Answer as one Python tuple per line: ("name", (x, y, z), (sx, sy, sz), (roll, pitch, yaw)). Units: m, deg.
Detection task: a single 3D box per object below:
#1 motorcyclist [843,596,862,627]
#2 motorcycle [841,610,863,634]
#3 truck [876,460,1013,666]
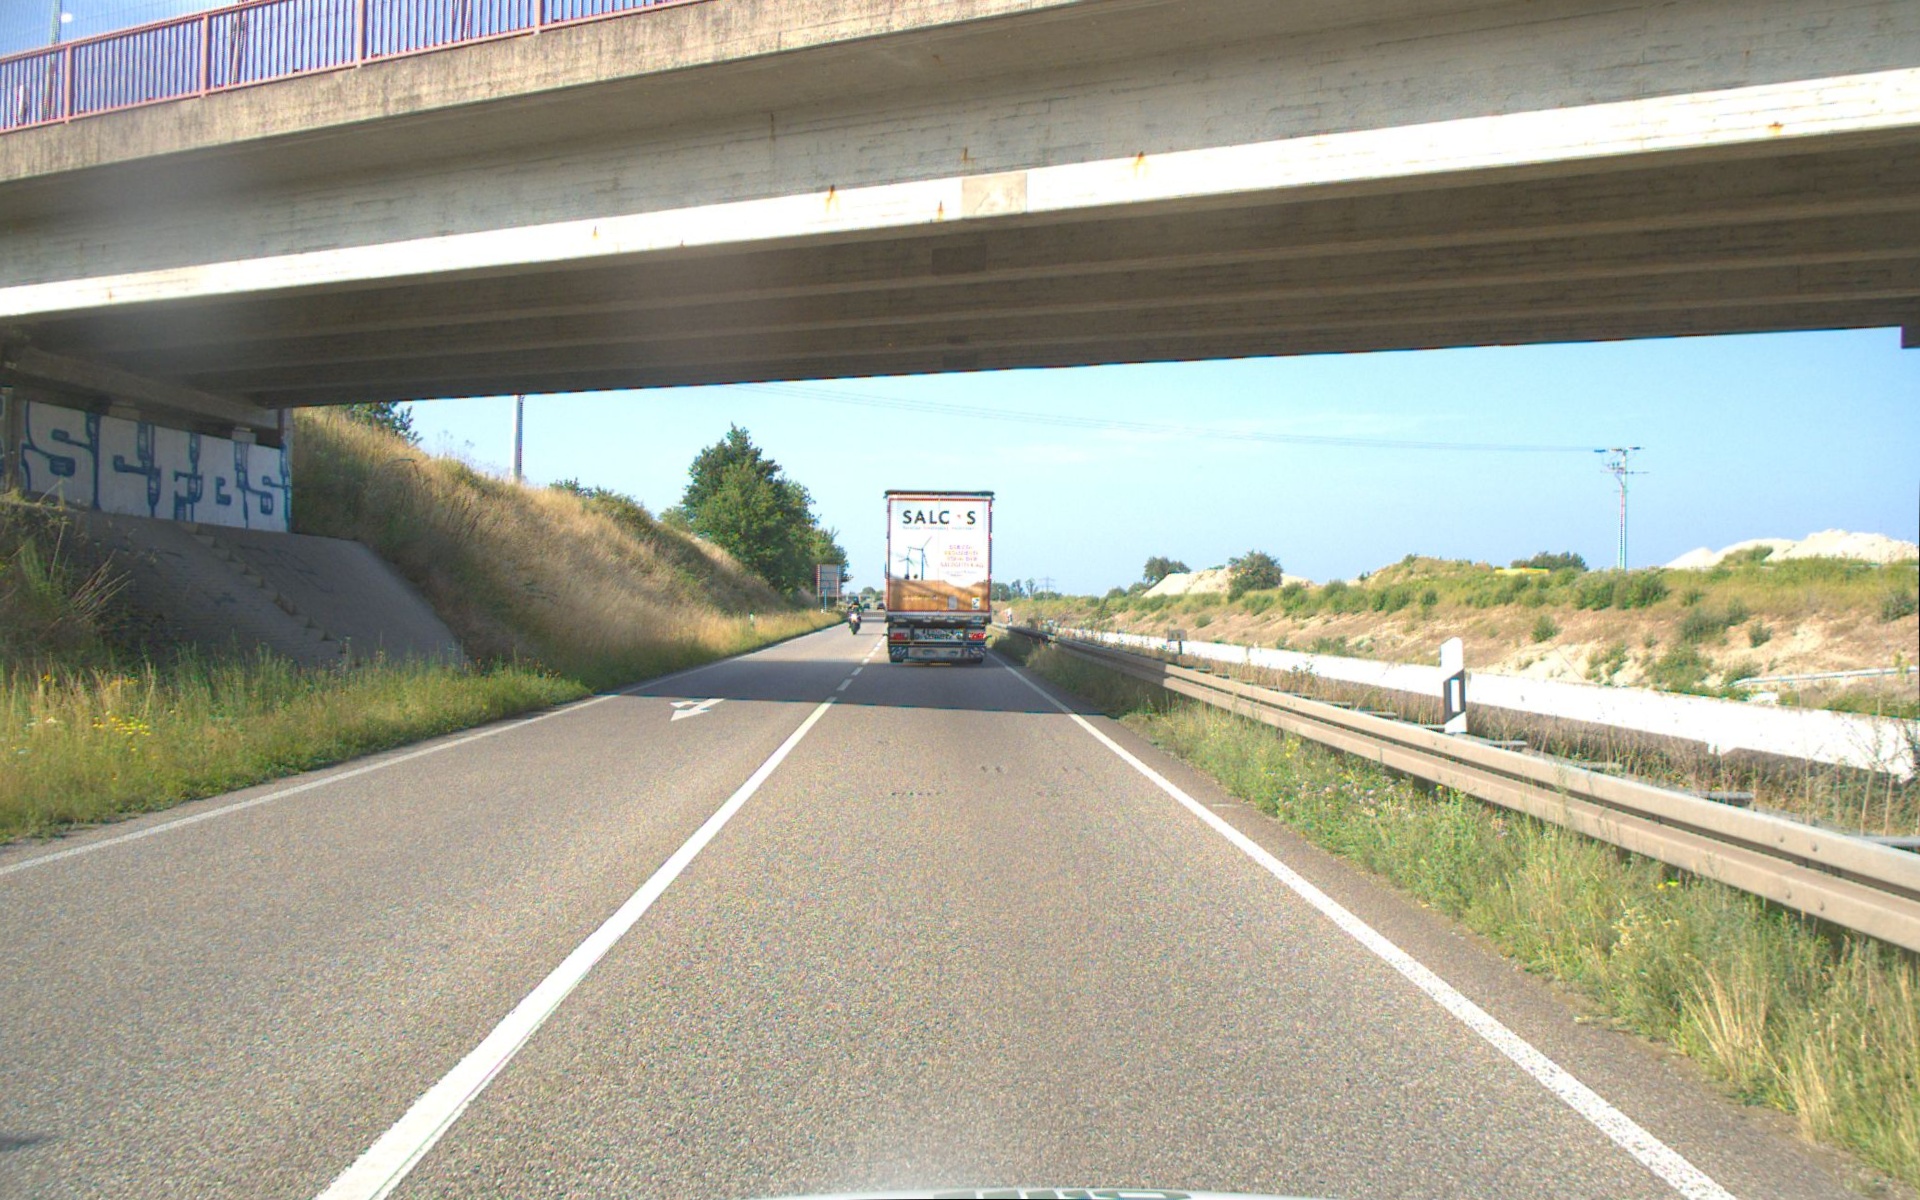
("motorcyclist", (-5.102, 0.552, 78.387), (0.862, 1.477, 1.283), (0, -1, -3))
("motorcycle", (-5.095, 1.028, 78.419), (1.020, 1.137, 2.131), (0, 0, -3))
("truck", (-0.562, -0.823, 42.657), (3.090, 4.771, 8.435), (1, 0, -3))
